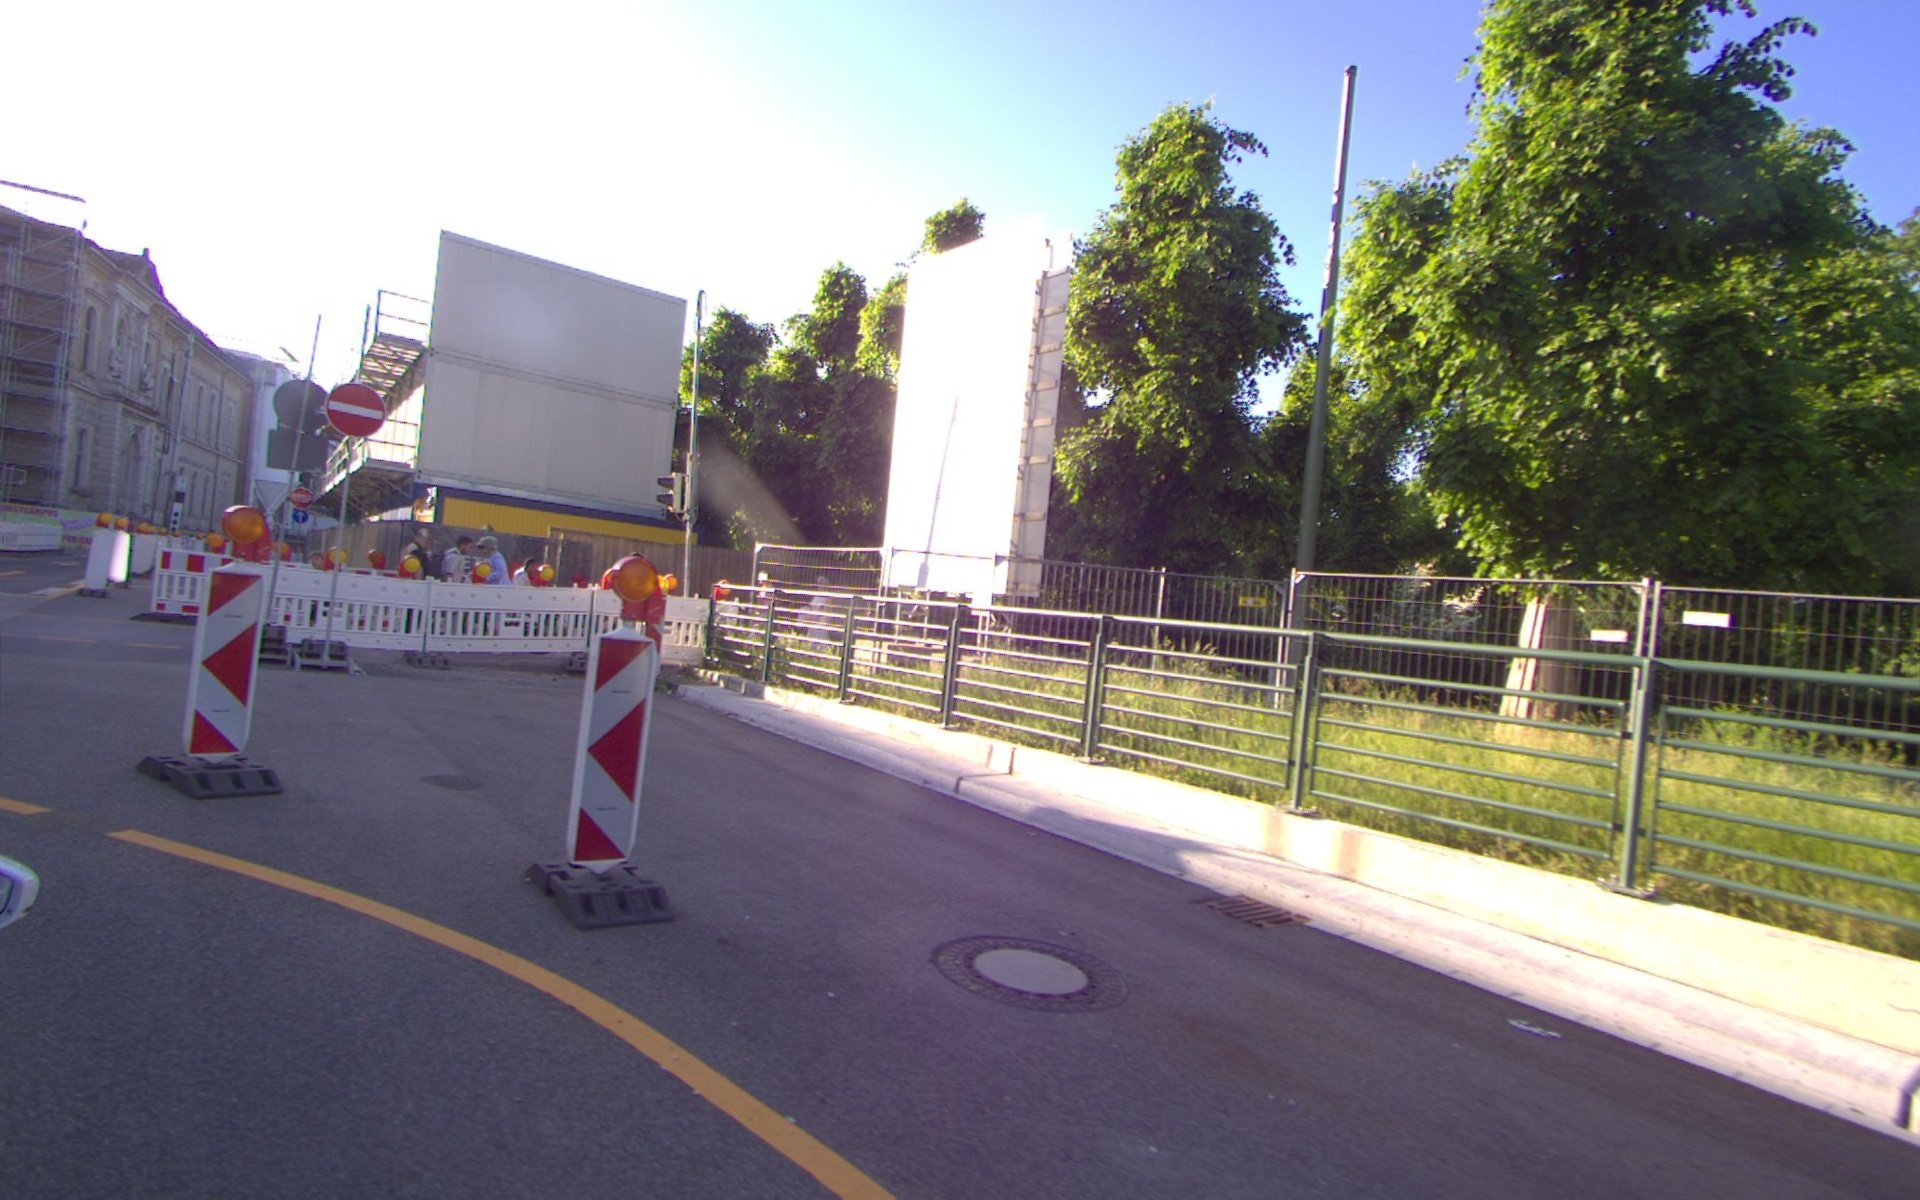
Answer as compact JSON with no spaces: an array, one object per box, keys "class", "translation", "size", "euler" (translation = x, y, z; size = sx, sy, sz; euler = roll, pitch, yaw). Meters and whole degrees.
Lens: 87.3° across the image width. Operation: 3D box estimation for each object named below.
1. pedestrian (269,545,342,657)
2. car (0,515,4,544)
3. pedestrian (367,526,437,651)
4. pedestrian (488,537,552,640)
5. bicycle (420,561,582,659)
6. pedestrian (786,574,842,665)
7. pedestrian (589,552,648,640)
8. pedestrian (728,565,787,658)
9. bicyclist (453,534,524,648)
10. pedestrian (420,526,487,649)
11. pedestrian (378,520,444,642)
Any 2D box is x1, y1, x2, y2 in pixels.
[{"class":"pedestrian","translation":[-8.331,0.011,12.809],"size":[0.615,1.315,0.489],"euler":[9,-1,-35]},{"class":"car","translation":[-30.253,-2.028,29.852],"size":[1.913,1.483,3.967],"euler":[8,-3,-33]},{"class":"pedestrian","translation":[-8.117,-0.171,14.633],"size":[0.732,1.738,0.616],"euler":[4,2,-35]},{"class":"pedestrian","translation":[-7.378,-0.195,16.857],"size":[0.763,1.640,0.659],"euler":[4,2,-35]},{"class":"bicycle","translation":[-6.603,0.162,14.546],"size":[1.981,1.216,0.472],"euler":[7,-1,-36]},{"class":"pedestrian","translation":[-2.677,0.355,18.469],"size":[0.653,1.586,0.745],"euler":[5,2,14]},{"class":"pedestrian","translation":[-6.073,-0.069,17.885],"size":[0.763,1.481,0.659],"euler":[4,2,-35]},{"class":"pedestrian","translation":[-3.692,0.209,18.333],"size":[0.732,1.625,0.637],"euler":[4,2,-35]},{"class":"bicyclist","translation":[-6.762,-0.124,14.411],"size":[0.697,1.534,0.680],"euler":[6,0,-34]},{"class":"pedestrian","translation":[-7.735,-0.189,15.350],"size":[0.732,1.794,0.616],"euler":[4,2,-35]},{"class":"pedestrian","translation":[-8.531,-0.297,15.618],"size":[0.732,1.794,0.717],"euler":[4,2,-34]}]
